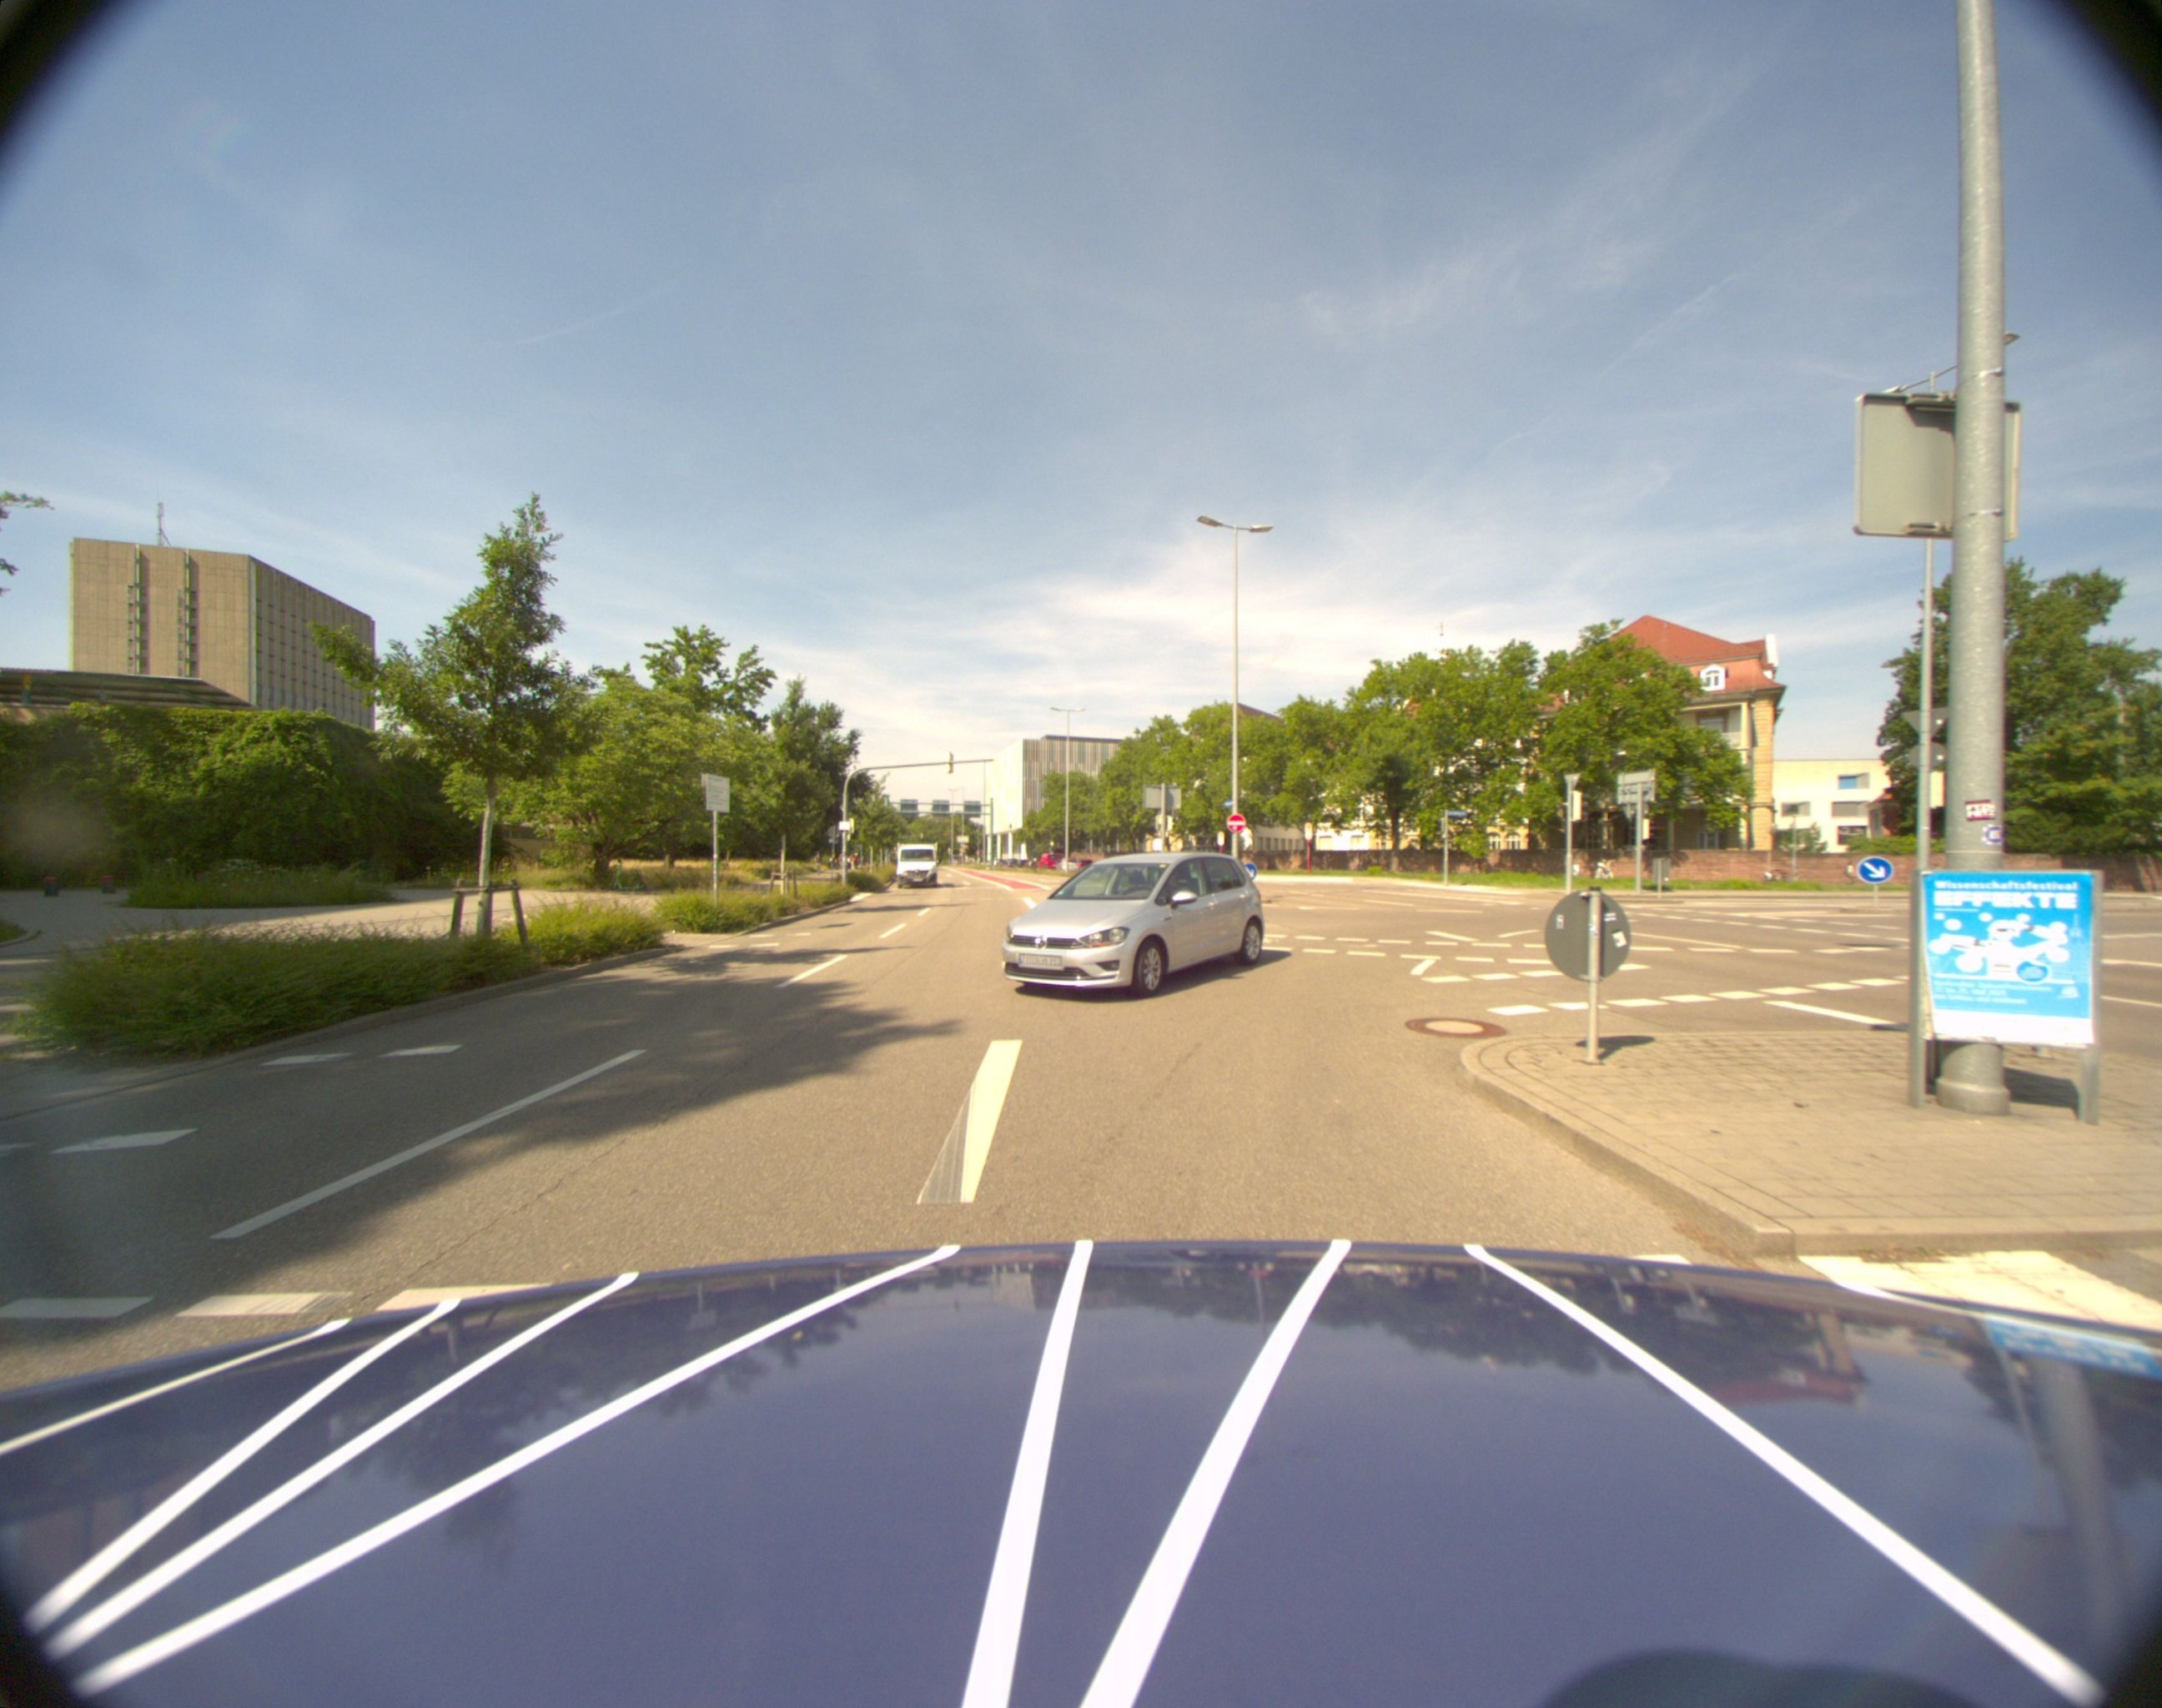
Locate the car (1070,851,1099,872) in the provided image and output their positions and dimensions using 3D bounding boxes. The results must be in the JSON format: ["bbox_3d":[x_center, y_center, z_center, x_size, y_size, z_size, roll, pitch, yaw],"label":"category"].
[{"bbox_3d":[0.291,0.756,75.915,2.001,2.001,3.996,0,-2,-14],"label":"car"}]

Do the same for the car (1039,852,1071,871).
[{"bbox_3d":[-2.626,0.718,75.756,1.981,1.786,4.604,1,0,-17],"label":"car"}]

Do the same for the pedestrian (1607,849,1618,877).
[{"bbox_3d":[37.883,0.625,54.174,0.594,2.002,0.524,1,1,33],"label":"pedestrian"}]

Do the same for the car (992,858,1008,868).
[{"bbox_3d":[-12.711,1.352,118.958,1.801,1.501,3.993,-2,1,-18],"label":"car"}]

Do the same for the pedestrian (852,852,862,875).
[{"bbox_3d":[-24.470,1.039,83.006,0.955,2.518,1.123,0,-2,-16],"label":"pedestrian"}]

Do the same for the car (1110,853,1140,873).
[{"bbox_3d":[3.631,0.746,63.243,1.711,1.609,4.214,1,0,-8],"label":"car"}]

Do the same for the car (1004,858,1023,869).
[{"bbox_3d":[-9.284,1.269,104.575,1.801,1.501,3.993,-2,1,-18],"label":"car"}]

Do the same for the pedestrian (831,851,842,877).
[{"bbox_3d":[-23.574,0.964,73.215,0.955,2.518,1.123,0,-2,-16],"label":"pedestrian"}]

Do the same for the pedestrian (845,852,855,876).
[{"bbox_3d":[-24.754,1.114,81.497,0.955,2.518,1.123,0,-2,-16],"label":"pedestrian"}]

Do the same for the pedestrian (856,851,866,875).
[{"bbox_3d":[-23.645,0.984,81.731,0.955,2.518,1.123,0,-2,-16],"label":"pedestrian"}]

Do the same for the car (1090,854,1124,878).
[{"bbox_3d":[2.305,1.121,68.905,2.001,2.001,3.996,0,-2,-14],"label":"car"}]

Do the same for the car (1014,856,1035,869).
[{"bbox_3d":[-7.002,1.076,93.920,1.801,1.501,3.994,-2,1,-16],"label":"car"}]

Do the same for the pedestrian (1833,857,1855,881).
[{"bbox_3d":[48.078,0.933,47.893,0.911,1.539,0.504,1,1,37],"label":"pedestrian"}]

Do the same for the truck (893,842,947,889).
[{"bbox_3d":[-8.884,0.543,41.473,2.415,2.342,7.037,-1,1,-15],"label":"truck"}]

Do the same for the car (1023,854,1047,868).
[{"bbox_3d":[-5.268,0.761,86.282,1.801,1.501,3.994,-2,1,-16],"label":"car"}]

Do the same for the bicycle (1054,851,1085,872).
[{"bbox_3d":[-1.084,0.664,69.563,2.001,1.804,3.995,0,0,-14],"label":"bicycle"}]

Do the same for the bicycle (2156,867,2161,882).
[{"bbox_3d":[63.925,1.186,44.409,1.934,0.882,0.684,0,1,-18],"label":"bicycle"}]

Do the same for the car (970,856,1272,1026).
[{"bbox_3d":[0.728,0.858,9.557,1.684,1.577,4.160,0,1,38],"label":"car"}]
